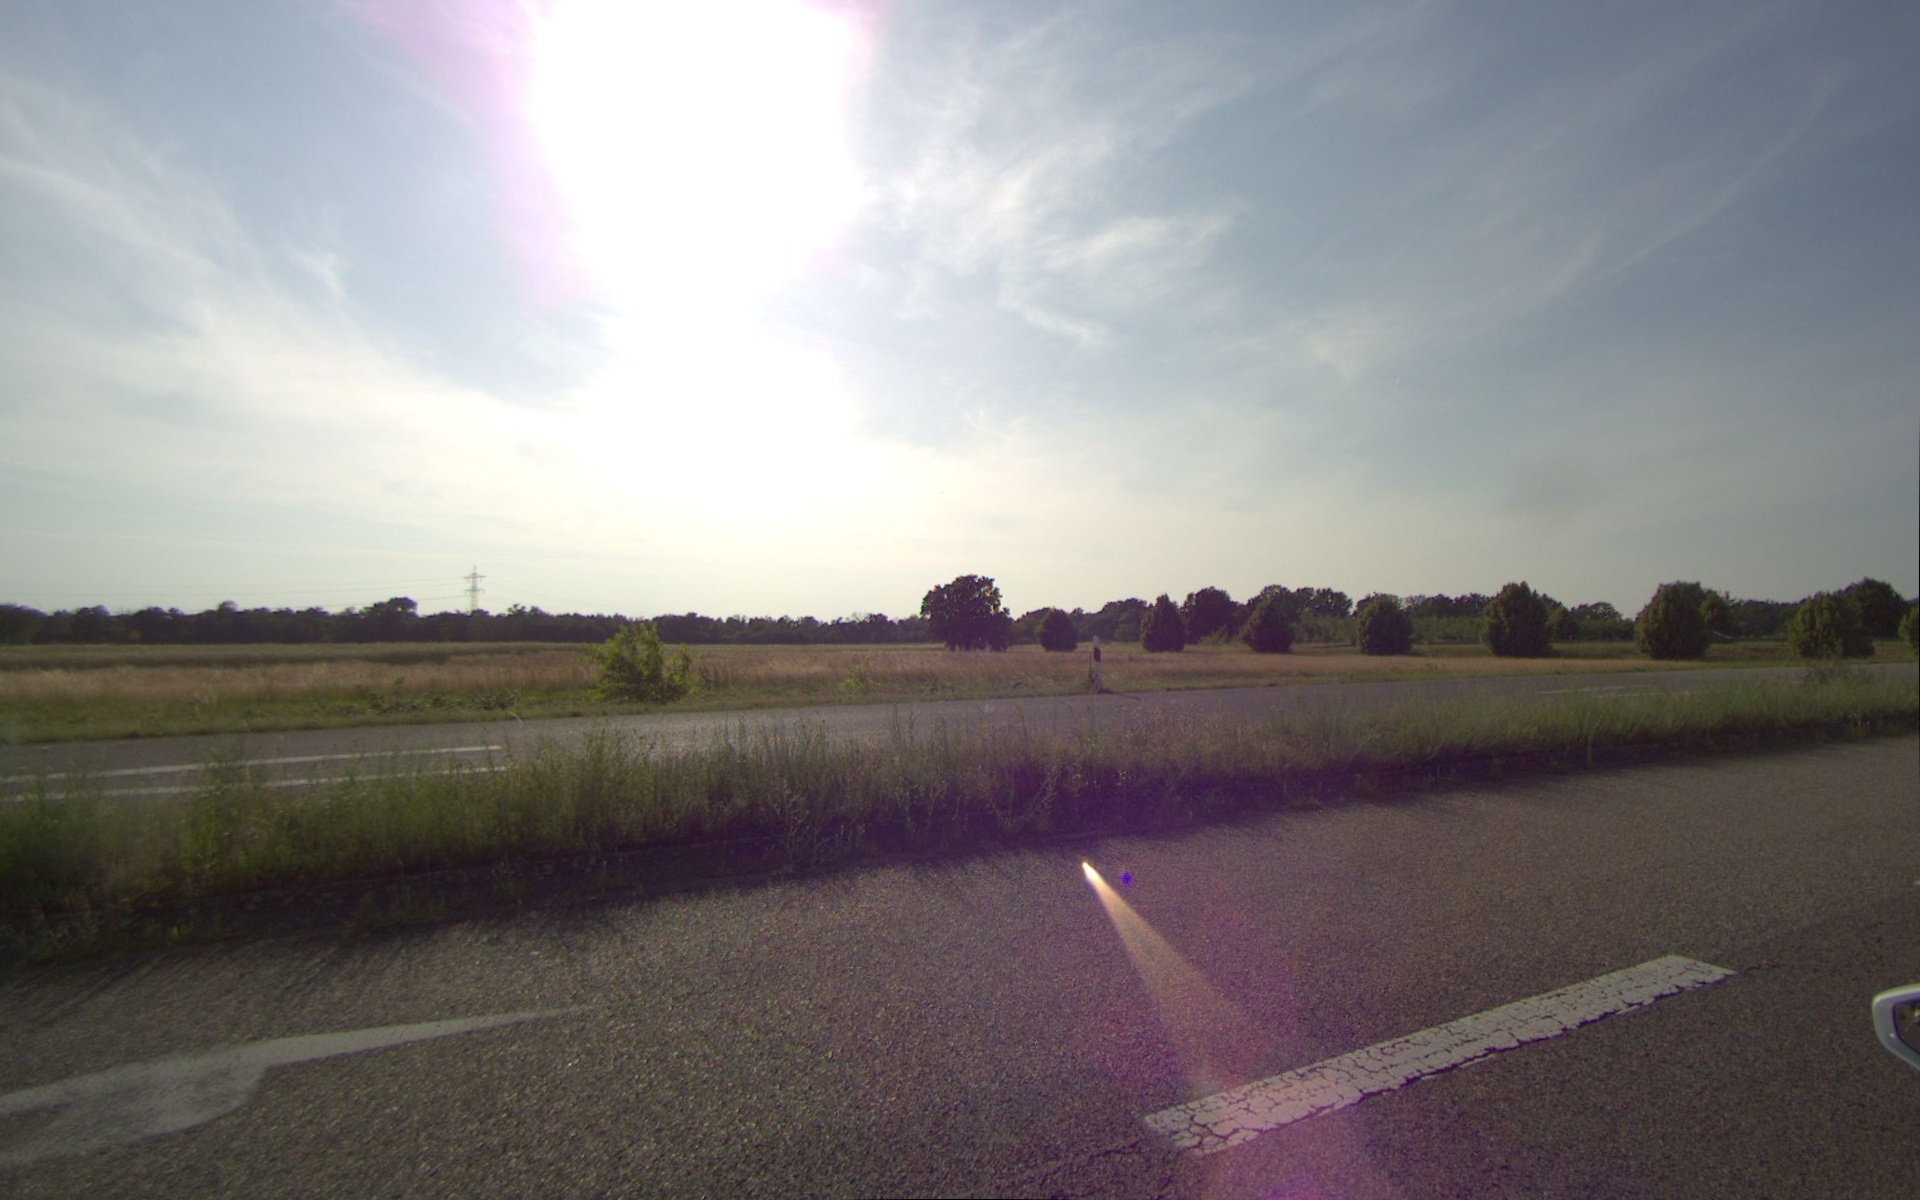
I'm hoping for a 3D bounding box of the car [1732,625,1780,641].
[{"bbox_3d":[92.881,3.798,117.251,1.978,1.689,3.966,2,-1,-31],"label":"car"}]
